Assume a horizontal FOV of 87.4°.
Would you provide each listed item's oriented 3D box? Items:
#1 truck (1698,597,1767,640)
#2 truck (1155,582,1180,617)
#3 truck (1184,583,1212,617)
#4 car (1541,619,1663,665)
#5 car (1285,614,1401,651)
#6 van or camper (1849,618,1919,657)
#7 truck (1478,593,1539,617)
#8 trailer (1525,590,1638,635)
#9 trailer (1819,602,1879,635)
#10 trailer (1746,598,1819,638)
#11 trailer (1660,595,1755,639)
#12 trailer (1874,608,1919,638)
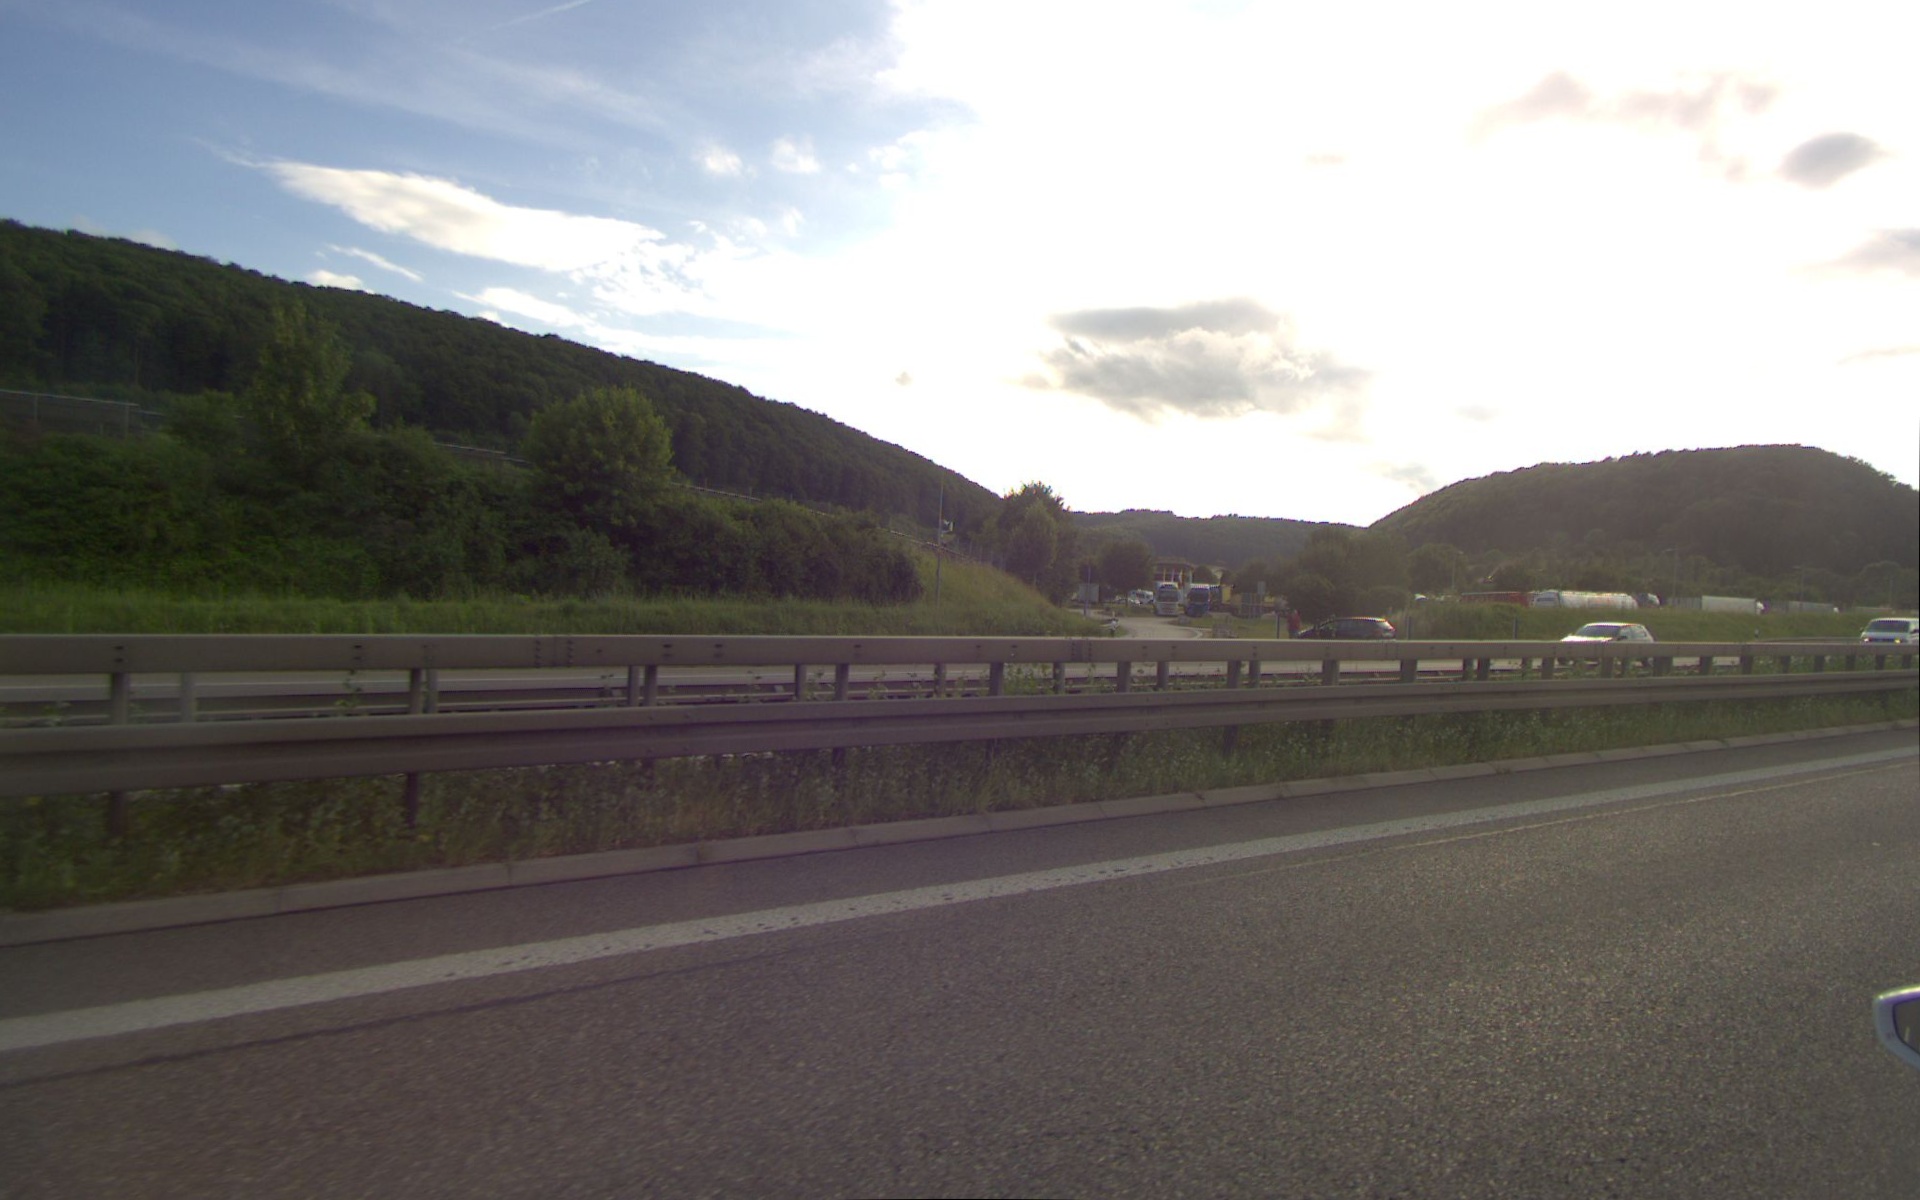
[{"bbox_3d":[71.846,1.781,93.343,8.410,3.739,2.862,2,-2,-36],"label":"truck"},{"bbox_3d":[25.244,0.016,122.650,2.535,3.907,11.388,2,-1,10],"label":"truck"},{"bbox_3d":[29.269,0.061,123.829,2.535,3.907,11.388,2,-1,10],"label":"truck"},{"bbox_3d":[22.468,1.454,35.096,4.645,1.516,1.981,2,-2,-35],"label":"car"},{"bbox_3d":[17.402,1.457,45.761,4.550,1.572,1.991,0,-1,40],"label":"car"},{"bbox_3d":[47.067,1.881,50.802,4.703,1.898,1.905,1,-1,-32],"label":"van or camper"},{"bbox_3d":[52.741,0.525,96.781,2.841,2.040,7.314,2,-1,10],"label":"truck"},{"bbox_3d":[47.310,1.005,76.246,12.140,2.891,2.562,3,-1,-35],"label":"trailer"},{"bbox_3d":[102.214,2.175,115.420,10.269,3.745,2.858,1,-1,-35],"label":"trailer"},{"bbox_3d":[84.807,1.951,103.471,13.554,3.744,2.856,3,-3,-38],"label":"trailer"},{"bbox_3d":[67.041,1.620,89.889,13.541,3.745,2.858,2,-2,-35],"label":"trailer"},{"bbox_3d":[120.031,2.944,128.232,10.269,3.745,2.858,1,-1,-35],"label":"trailer"}]
